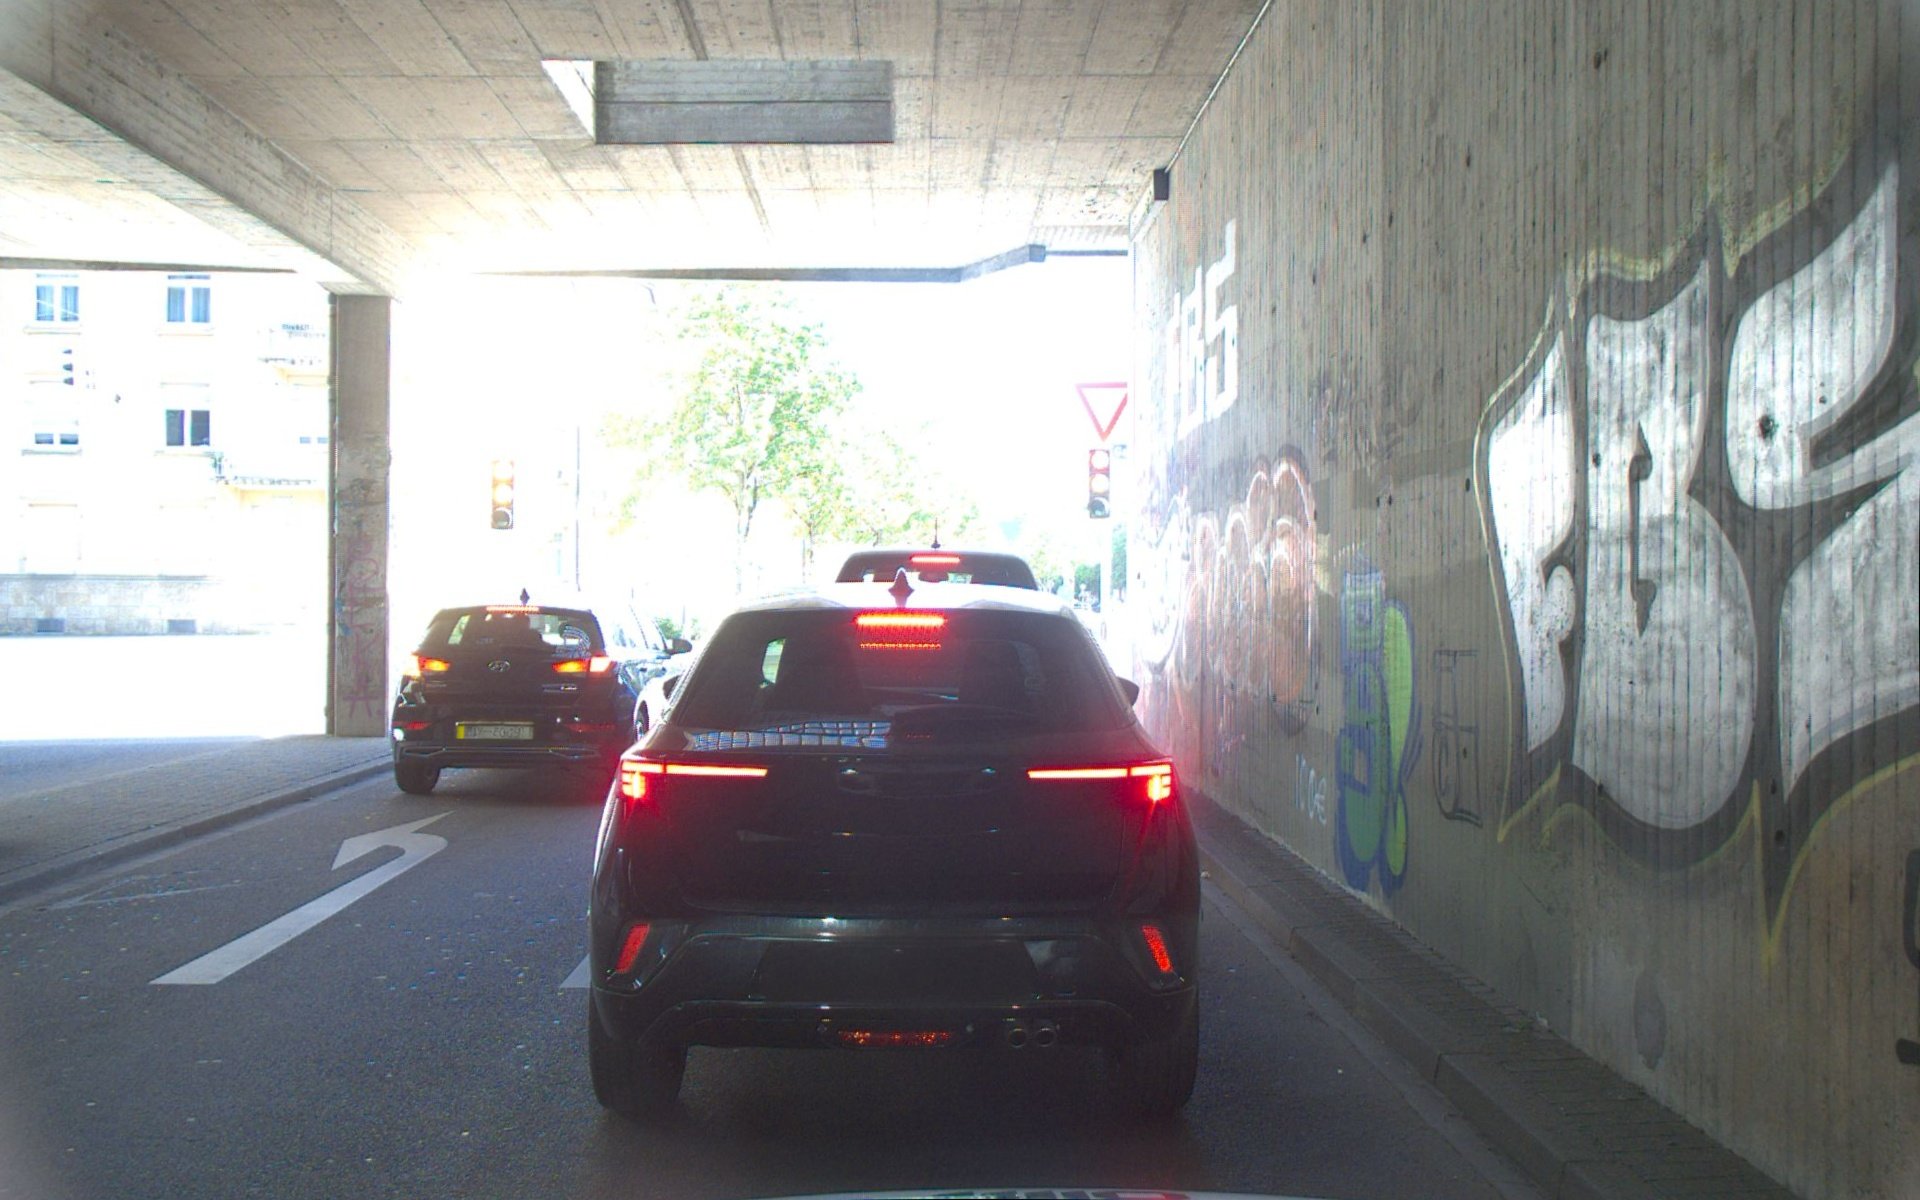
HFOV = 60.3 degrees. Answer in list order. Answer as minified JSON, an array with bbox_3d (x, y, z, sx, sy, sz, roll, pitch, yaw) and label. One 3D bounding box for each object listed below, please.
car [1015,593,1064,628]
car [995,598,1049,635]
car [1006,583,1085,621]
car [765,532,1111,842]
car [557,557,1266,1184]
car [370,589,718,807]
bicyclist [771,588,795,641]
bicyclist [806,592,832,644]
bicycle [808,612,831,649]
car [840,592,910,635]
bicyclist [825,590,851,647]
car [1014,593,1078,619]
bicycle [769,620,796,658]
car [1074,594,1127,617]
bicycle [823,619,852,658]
[{"bbox_3d":[3.653,0.460,75.342,1.668,1.539,3.866,-2,0,11],"label":"car"},{"bbox_3d":[2.589,0.678,68.496,1.671,1.477,3.854,0,0,11],"label":"car"},{"bbox_3d":[5.960,0.120,115.825,5.175,2.590,1.977,0,-1,-16],"label":"car"},{"bbox_3d":[-0.184,0.511,12.461,2.090,1.867,4.939,0,0,-1],"label":"car"},{"bbox_3d":[-0.142,0.669,5.990,1.745,1.544,3.755,1,0,-1],"label":"car"},{"bbox_3d":[-3.162,0.656,13.471,1.764,1.476,4.326,0,0,-1],"label":"car"},{"bbox_3d":[-5.519,0.444,51.592,0.593,1.661,0.910,0,0,4],"label":"bicyclist"},{"bbox_3d":[-4.631,0.597,54.468,0.766,1.689,1.031,0,0,1],"label":"bicyclist"},{"bbox_3d":[-4.624,0.993,54.518,0.530,1.142,2.059,0,0,1],"label":"bicycle"},{"bbox_3d":[-3.034,0.457,59.408,1.622,1.466,3.466,0,0,13],"label":"car"},{"bbox_3d":[-3.834,0.569,52.044,0.730,1.741,0.967,0,2,2],"label":"bicyclist"},{"bbox_3d":[6.987,0.473,134.356,4.822,2.119,1.969,0,-1,-26],"label":"car"},{"bbox_3d":[-5.521,1.205,51.467,0.514,1.109,1.861,0,0,4],"label":"bicycle"},{"bbox_3d":[13.730,0.539,161.401,4.802,2.119,1.978,0,-1,-15],"label":"car"},{"bbox_3d":[-3.842,1.193,51.943,0.683,1.109,1.861,0,2,2],"label":"bicycle"}]
